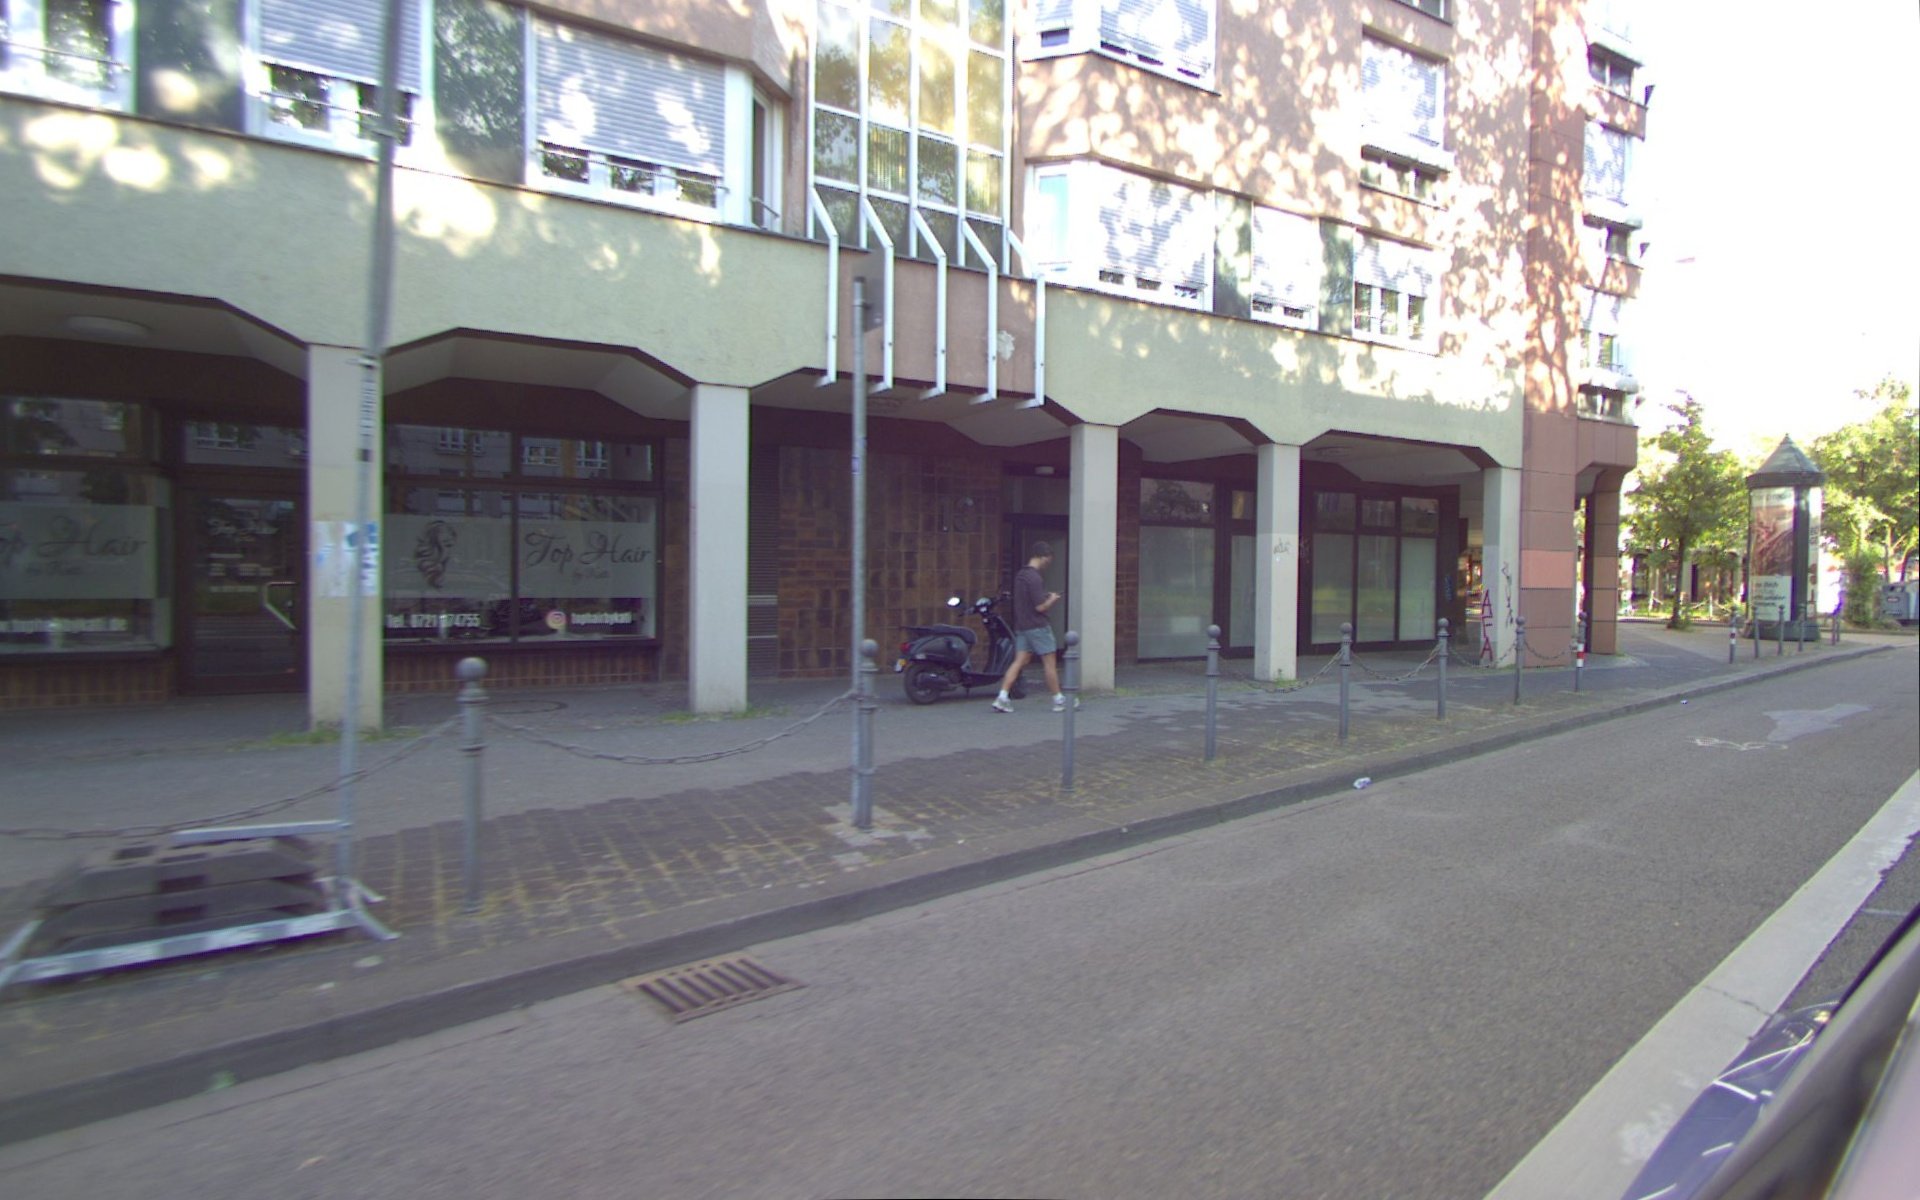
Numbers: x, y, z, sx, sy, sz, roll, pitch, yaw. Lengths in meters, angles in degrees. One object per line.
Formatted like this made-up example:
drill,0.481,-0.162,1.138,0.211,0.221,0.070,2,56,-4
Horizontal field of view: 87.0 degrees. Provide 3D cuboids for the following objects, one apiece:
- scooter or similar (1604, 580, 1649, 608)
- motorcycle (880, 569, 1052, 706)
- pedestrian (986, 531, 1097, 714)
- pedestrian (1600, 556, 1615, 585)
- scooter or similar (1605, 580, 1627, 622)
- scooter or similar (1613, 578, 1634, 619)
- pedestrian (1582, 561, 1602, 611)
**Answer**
scooter or similar,27.586,-0.252,41.873,0.548,1.160,1.460,0,1,-34
motorcycle,0.108,0.360,11.054,2.053,1.389,0.489,-1,1,-40
pedestrian,0.818,0.206,10.272,0.820,1.760,0.784,0,1,-31
pedestrian,41.277,-1.876,64.489,0.696,1.894,0.622,-1,1,-39
scooter or similar,19.801,0.028,30.559,0.481,1.231,1.435,1,1,30
scooter or similar,21.342,-0.058,32.574,0.481,1.290,1.435,1,1,30
pedestrian,25.400,-0.559,40.687,0.636,2.006,0.767,1,1,32
